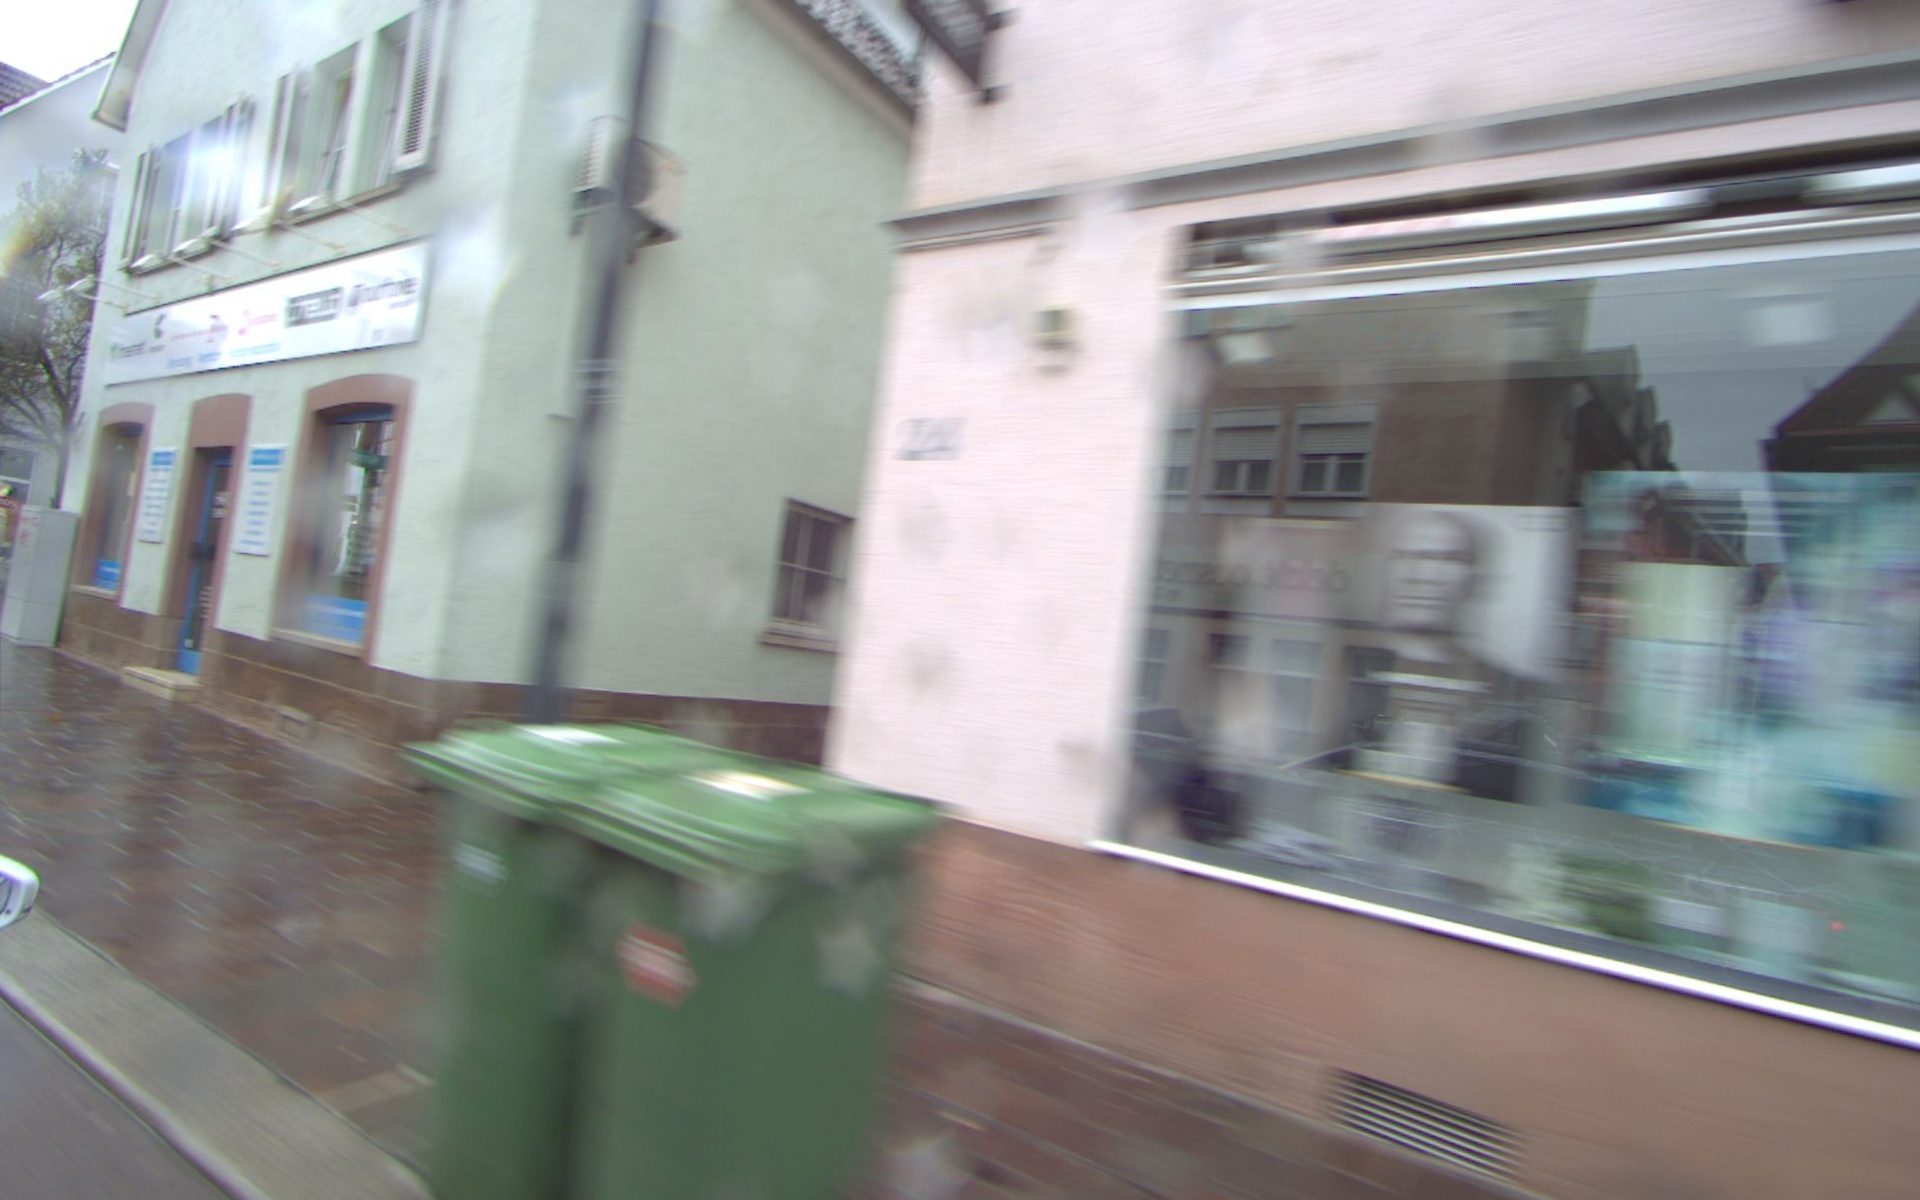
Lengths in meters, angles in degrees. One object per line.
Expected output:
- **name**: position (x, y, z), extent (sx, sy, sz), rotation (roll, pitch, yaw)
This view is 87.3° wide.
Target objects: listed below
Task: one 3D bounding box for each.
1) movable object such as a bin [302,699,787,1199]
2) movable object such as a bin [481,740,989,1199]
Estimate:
- **movable object such as a bin**: position (-0.965, 0.836, 2.472), extent (0.573, 1.092, 0.798), rotation (6, -3, 28)
- **movable object such as a bin**: position (-0.442, 0.894, 2.172), extent (0.604, 1.092, 0.795), rotation (6, -3, 28)
